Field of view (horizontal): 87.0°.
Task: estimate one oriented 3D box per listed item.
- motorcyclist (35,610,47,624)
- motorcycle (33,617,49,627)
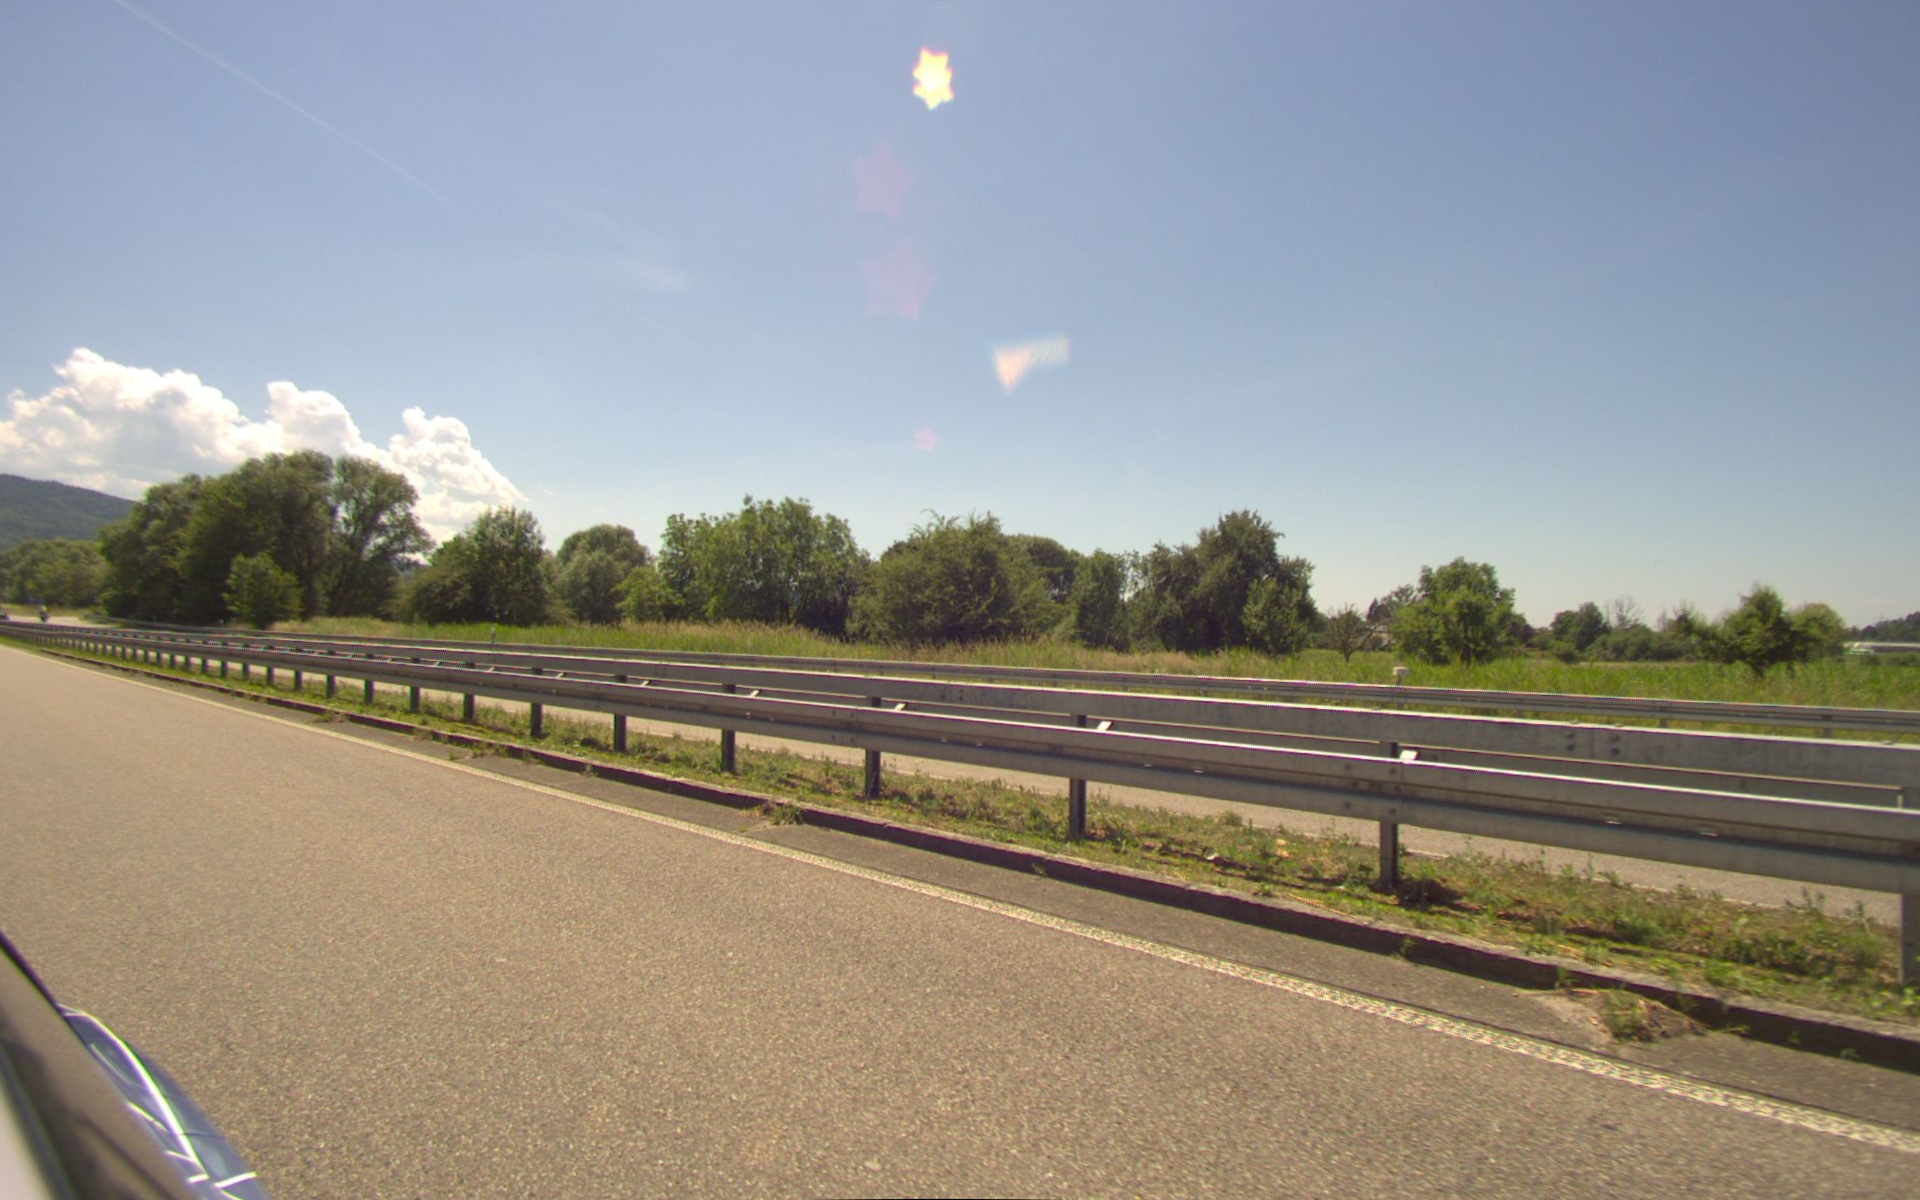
[{"bbox_3d":[-106.142,1.982,116.847,0.809,1.629,0.935,-1,-2,42],"label":"motorcyclist"},{"bbox_3d":[-106.083,2.502,116.783,3.818,1.072,1.052,-1,-2,43],"label":"motorcycle"}]
